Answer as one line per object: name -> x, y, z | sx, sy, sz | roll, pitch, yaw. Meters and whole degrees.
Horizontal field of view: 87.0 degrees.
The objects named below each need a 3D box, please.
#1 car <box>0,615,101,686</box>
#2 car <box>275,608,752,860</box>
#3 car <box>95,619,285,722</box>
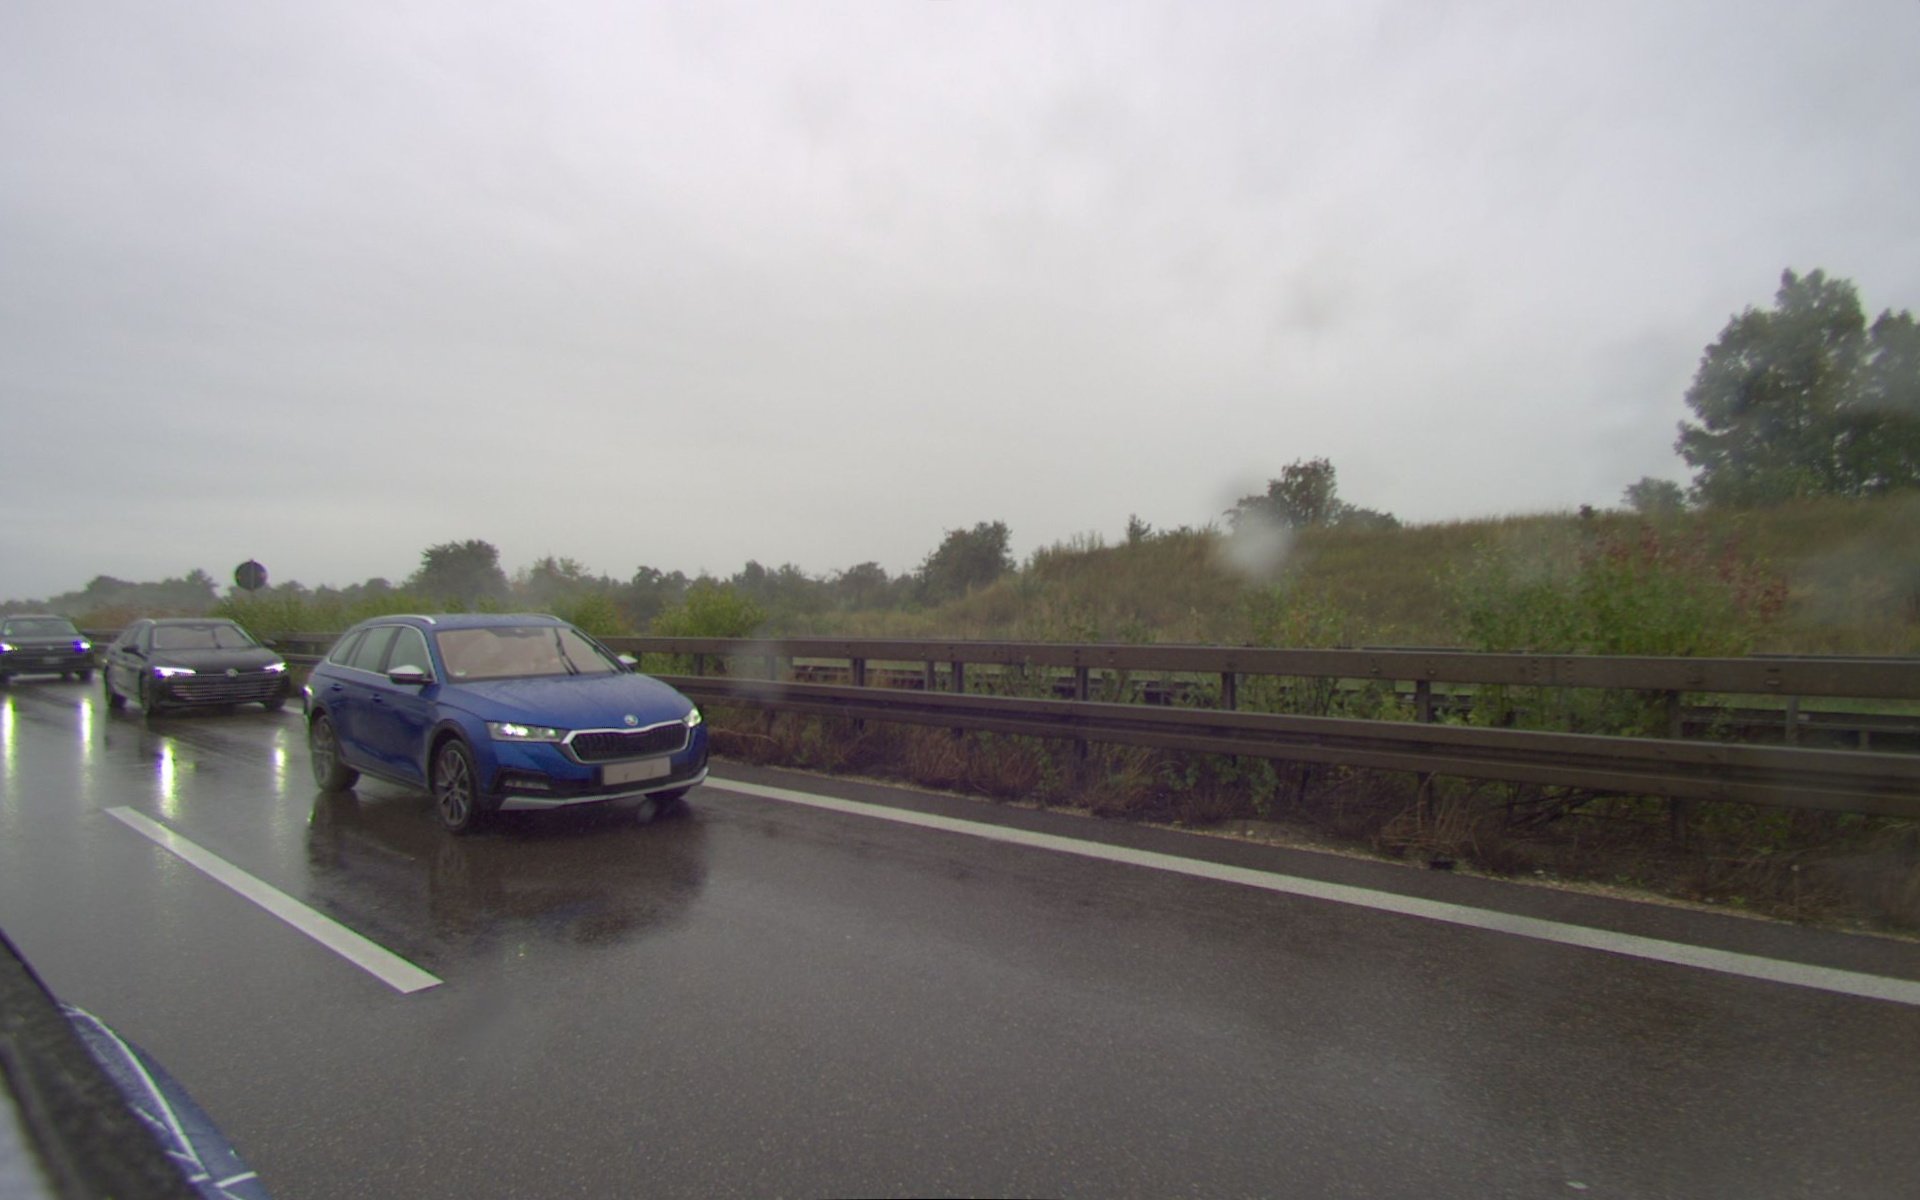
car -> -23.433, 1.225, 25.659 | 4.266, 1.644, 1.865 | -1, -1, 40
car -> -3.790, 0.842, 8.162 | 4.509, 1.487, 1.768 | -1, -1, 41
car -> -12.576, 1.059, 16.429 | 4.368, 1.447, 1.592 | -1, -1, 41
